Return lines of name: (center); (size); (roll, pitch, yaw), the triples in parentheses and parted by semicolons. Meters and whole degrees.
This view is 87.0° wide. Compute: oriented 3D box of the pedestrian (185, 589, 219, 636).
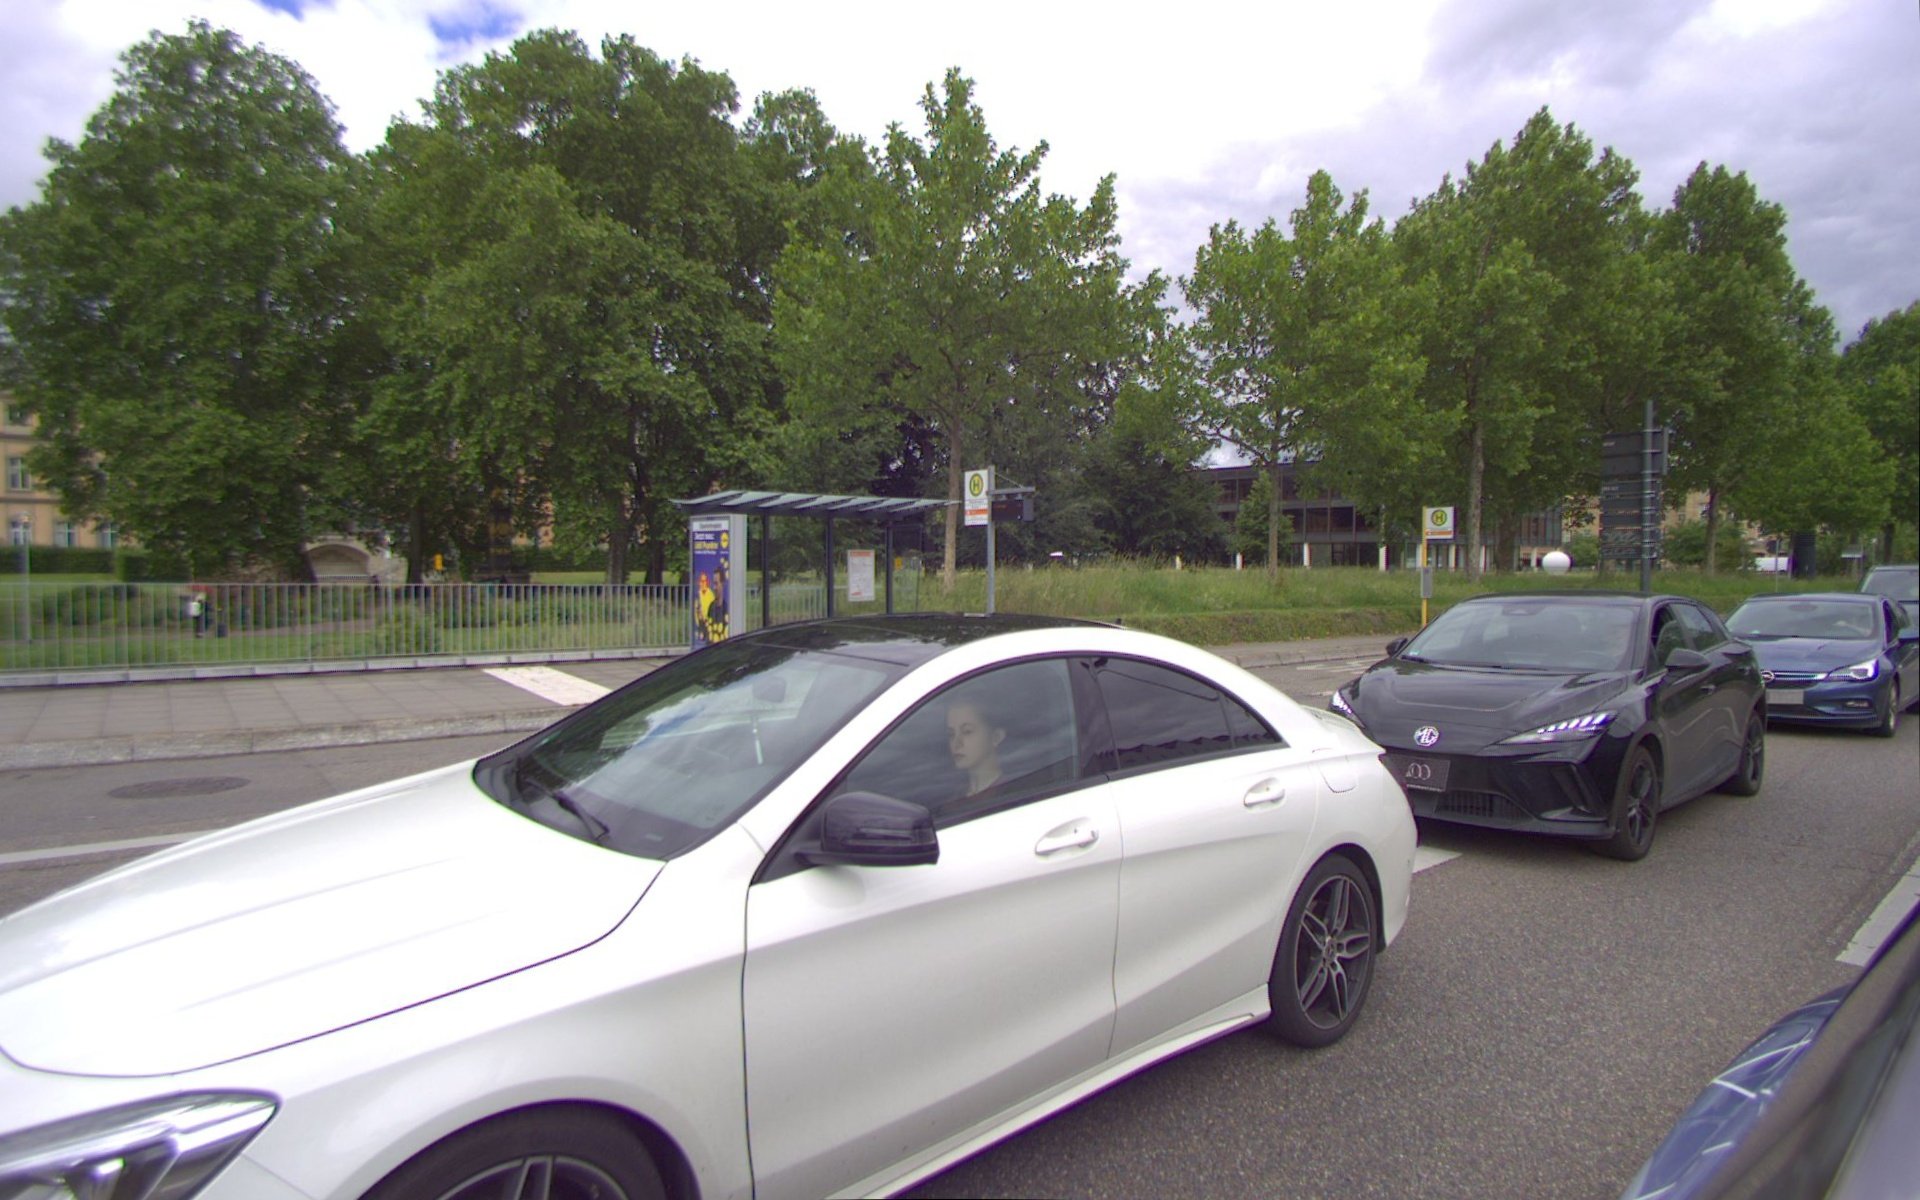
pedestrian: (-26.829, 0.432, 35.824); (0.674, 1.621, 0.654); (-1, 0, 17)

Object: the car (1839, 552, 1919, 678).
car: (15.982, 0.170, 16.303); (4.719, 1.856, 2.020); (-1, 2, -40)

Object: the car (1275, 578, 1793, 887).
car: (4.133, 0.615, 7.033); (4.020, 1.508, 1.852); (-1, 2, -40)

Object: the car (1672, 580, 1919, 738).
car: (9.774, 0.517, 11.485); (3.944, 1.452, 1.804); (-1, 2, -40)

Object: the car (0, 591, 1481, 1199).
car: (-0.268, 0.733, 3.206); (4.446, 1.437, 1.799); (-1, 2, -39)
